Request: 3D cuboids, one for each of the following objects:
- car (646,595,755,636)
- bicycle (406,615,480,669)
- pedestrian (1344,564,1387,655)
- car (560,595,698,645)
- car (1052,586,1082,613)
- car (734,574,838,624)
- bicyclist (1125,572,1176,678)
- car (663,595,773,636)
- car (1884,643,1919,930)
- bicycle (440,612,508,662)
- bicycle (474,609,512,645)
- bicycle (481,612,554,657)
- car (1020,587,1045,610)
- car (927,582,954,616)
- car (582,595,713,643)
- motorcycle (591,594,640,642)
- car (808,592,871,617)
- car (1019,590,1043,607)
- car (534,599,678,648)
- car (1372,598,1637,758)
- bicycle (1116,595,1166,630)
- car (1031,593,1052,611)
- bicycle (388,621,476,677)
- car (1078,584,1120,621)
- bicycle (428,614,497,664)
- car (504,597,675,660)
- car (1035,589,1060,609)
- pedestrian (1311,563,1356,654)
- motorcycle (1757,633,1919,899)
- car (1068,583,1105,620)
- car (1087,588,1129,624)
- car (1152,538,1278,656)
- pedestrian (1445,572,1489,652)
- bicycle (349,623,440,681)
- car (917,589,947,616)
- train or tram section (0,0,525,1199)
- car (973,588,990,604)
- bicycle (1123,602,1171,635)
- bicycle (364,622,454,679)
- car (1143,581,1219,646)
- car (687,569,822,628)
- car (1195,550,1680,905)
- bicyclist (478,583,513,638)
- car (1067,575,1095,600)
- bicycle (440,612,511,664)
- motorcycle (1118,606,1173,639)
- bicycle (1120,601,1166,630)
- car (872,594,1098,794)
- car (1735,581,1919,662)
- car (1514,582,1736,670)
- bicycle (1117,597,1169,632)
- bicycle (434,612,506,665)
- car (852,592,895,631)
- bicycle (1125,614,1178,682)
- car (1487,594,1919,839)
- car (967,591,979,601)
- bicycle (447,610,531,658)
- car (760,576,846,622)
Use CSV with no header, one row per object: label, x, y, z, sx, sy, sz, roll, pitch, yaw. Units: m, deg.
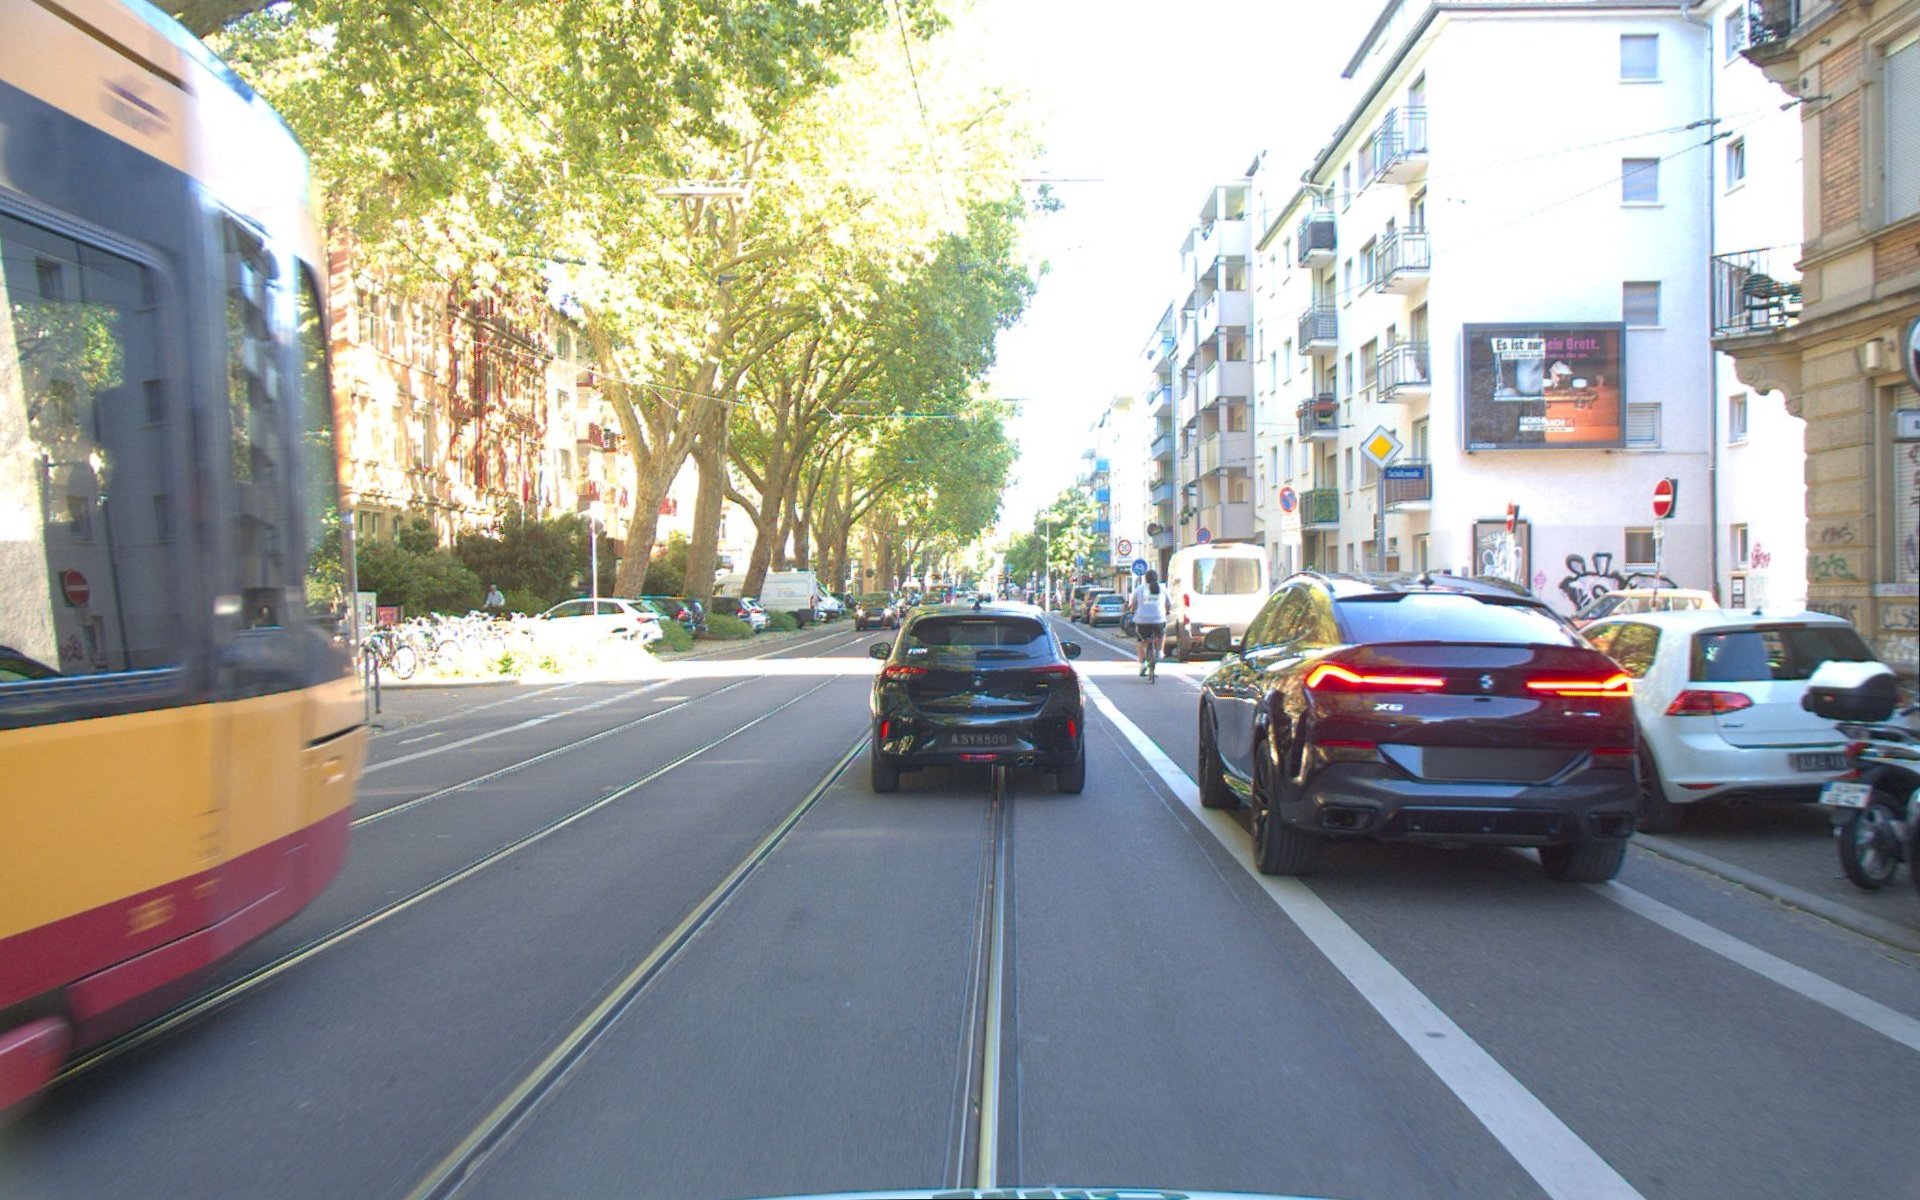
car,-9.550,0.550,61.045,3.714,1.486,1.705,0,0,2
bicycle,-10.809,0.885,34.589,1.525,1.107,0.396,-1,0,19
pedestrian,8.475,0.193,34.614,0.612,1.854,1.082,-2,-1,3
car,-10.296,0.610,51.603,3.903,1.486,1.771,-1,0,3
car,6.927,-0.033,107.302,1.819,1.680,4.002,-1,0,3
car,-9.207,-0.056,87.725,5.249,2.521,2.057,-1,0,1
bicyclist,3.276,0.421,28.539,0.770,1.790,0.915,0,0,1
car,-9.306,0.580,63.743,3.904,1.522,1.831,-1,0,2
car,5.120,0.816,5.852,1.615,1.294,3.725,-3,0,1
bicycle,-10.995,0.840,37.442,1.525,1.107,0.396,-1,0,19
bicycle,-15.606,0.885,55.317,0.727,1.158,1.780,-1,0,1
bicycle,-10.679,0.834,39.888,1.766,1.061,0.596,-1,0,29
car,5.633,-0.119,128.114,1.819,1.680,4.002,-1,0,3
car,-1.356,-0.079,115.421,1.878,2.266,4.959,-1,0,-1
car,-10.252,0.622,54.403,3.903,1.486,1.705,-1,0,3
motorcycle,-12.373,0.632,59.475,1.030,1.660,3.012,1,0,1
car,-7.826,0.300,107.639,3.905,1.548,1.771,-1,0,0
car,7.006,-0.140,163.926,1.954,1.668,3.998,-1,0,-3
car,-10.570,0.702,49.519,3.903,1.393,1.606,-1,0,3
car,5.667,0.741,17.717,1.615,1.445,4.061,-3,0,3
bicycle,6.765,0.458,61.844,1.786,1.212,0.457,-3,0,1
car,7.146,0.145,144.959,1.683,1.516,3.681,-1,0,0
bicycle,-10.655,0.983,33.367,1.817,1.107,0.396,-1,0,19
car,6.777,0.122,80.960,1.730,1.734,4.283,-1,0,0
bicycle,-11.125,0.866,36.963,1.525,1.107,0.396,-1,0,19
car,-9.435,0.721,42.326,3.905,1.486,1.879,-1,-1,0
car,7.352,-0.068,139.156,1.684,1.601,4.083,-1,0,-3
pedestrian,7.815,0.183,34.647,0.695,1.854,1.082,-2,-1,3
motorcycle,5.401,0.842,9.016,2.103,1.311,0.639,0,0,-21
car,6.824,0.043,89.524,1.819,1.923,4.926,-1,0,3
car,6.621,0.257,74.339,1.688,1.552,4.514,-1,0,3
car,5.919,-0.068,39.133,2.105,2.539,6.089,0,0,1
pedestrian,10.334,0.242,33.714,0.618,1.608,0.933,1,-1,3
bicycle,-11.048,1.011,32.281,1.817,1.107,0.396,-1,0,19
car,-1.616,0.142,96.561,1.683,1.536,3.722,-1,0,-1
train or tram section,-3.646,-0.408,1.878,2.876,3.682,11.065,1,0,2
car,2.309,-0.433,175.917,1.713,1.680,4.002,-1,0,3
bicycle,6.591,0.655,58.247,1.619,1.073,0.457,-3,0,1
bicycle,-10.899,0.992,32.711,1.817,1.107,0.396,-1,0,19
car,6.552,0.371,49.446,1.820,1.852,4.352,-1,0,2
car,-9.041,-0.086,73.112,5.622,2.580,2.163,0,0,1
car,2.692,0.617,10.505,1.903,1.734,4.631,1,0,2
bicyclist,-15.547,0.345,55.377,0.813,1.793,1.048,-1,0,1
car,8.358,-0.863,114.389,1.819,1.680,4.002,-1,0,3
bicycle,-10.546,0.818,35.973,1.525,1.107,0.396,-1,0,19
motorcycle,6.429,0.784,57.333,1.782,1.099,0.617,-2,0,25
bicycle,6.770,0.580,61.320,1.619,0.983,0.457,-3,0,1
car,0.210,0.687,13.977,1.645,1.447,3.628,1,0,1
car,17.129,0.395,31.446,3.941,1.481,1.790,0,0,2
car,12.614,0.492,31.555,3.572,1.601,1.791,0,0,7
bicycle,6.642,0.521,60.127,1.757,1.168,0.704,-3,0,1
bicycle,-10.493,0.825,35.442,1.525,1.107,0.396,-1,0,19
car,-3.512,0.439,67.769,1.602,1.536,3.691,-1,0,-1
bicycle,3.287,0.801,28.533,0.686,1.111,1.990,1,0,1
car,5.321,0.724,12.281,1.569,1.445,4.014,-3,0,1
car,1.877,-0.584,235.258,1.645,1.447,3.628,1,0,1
bicycle,-11.020,0.797,38.673,1.878,1.107,0.597,-1,0,19
car,-9.145,-0.072,96.547,4.844,2.612,2.082,-1,0,-2
